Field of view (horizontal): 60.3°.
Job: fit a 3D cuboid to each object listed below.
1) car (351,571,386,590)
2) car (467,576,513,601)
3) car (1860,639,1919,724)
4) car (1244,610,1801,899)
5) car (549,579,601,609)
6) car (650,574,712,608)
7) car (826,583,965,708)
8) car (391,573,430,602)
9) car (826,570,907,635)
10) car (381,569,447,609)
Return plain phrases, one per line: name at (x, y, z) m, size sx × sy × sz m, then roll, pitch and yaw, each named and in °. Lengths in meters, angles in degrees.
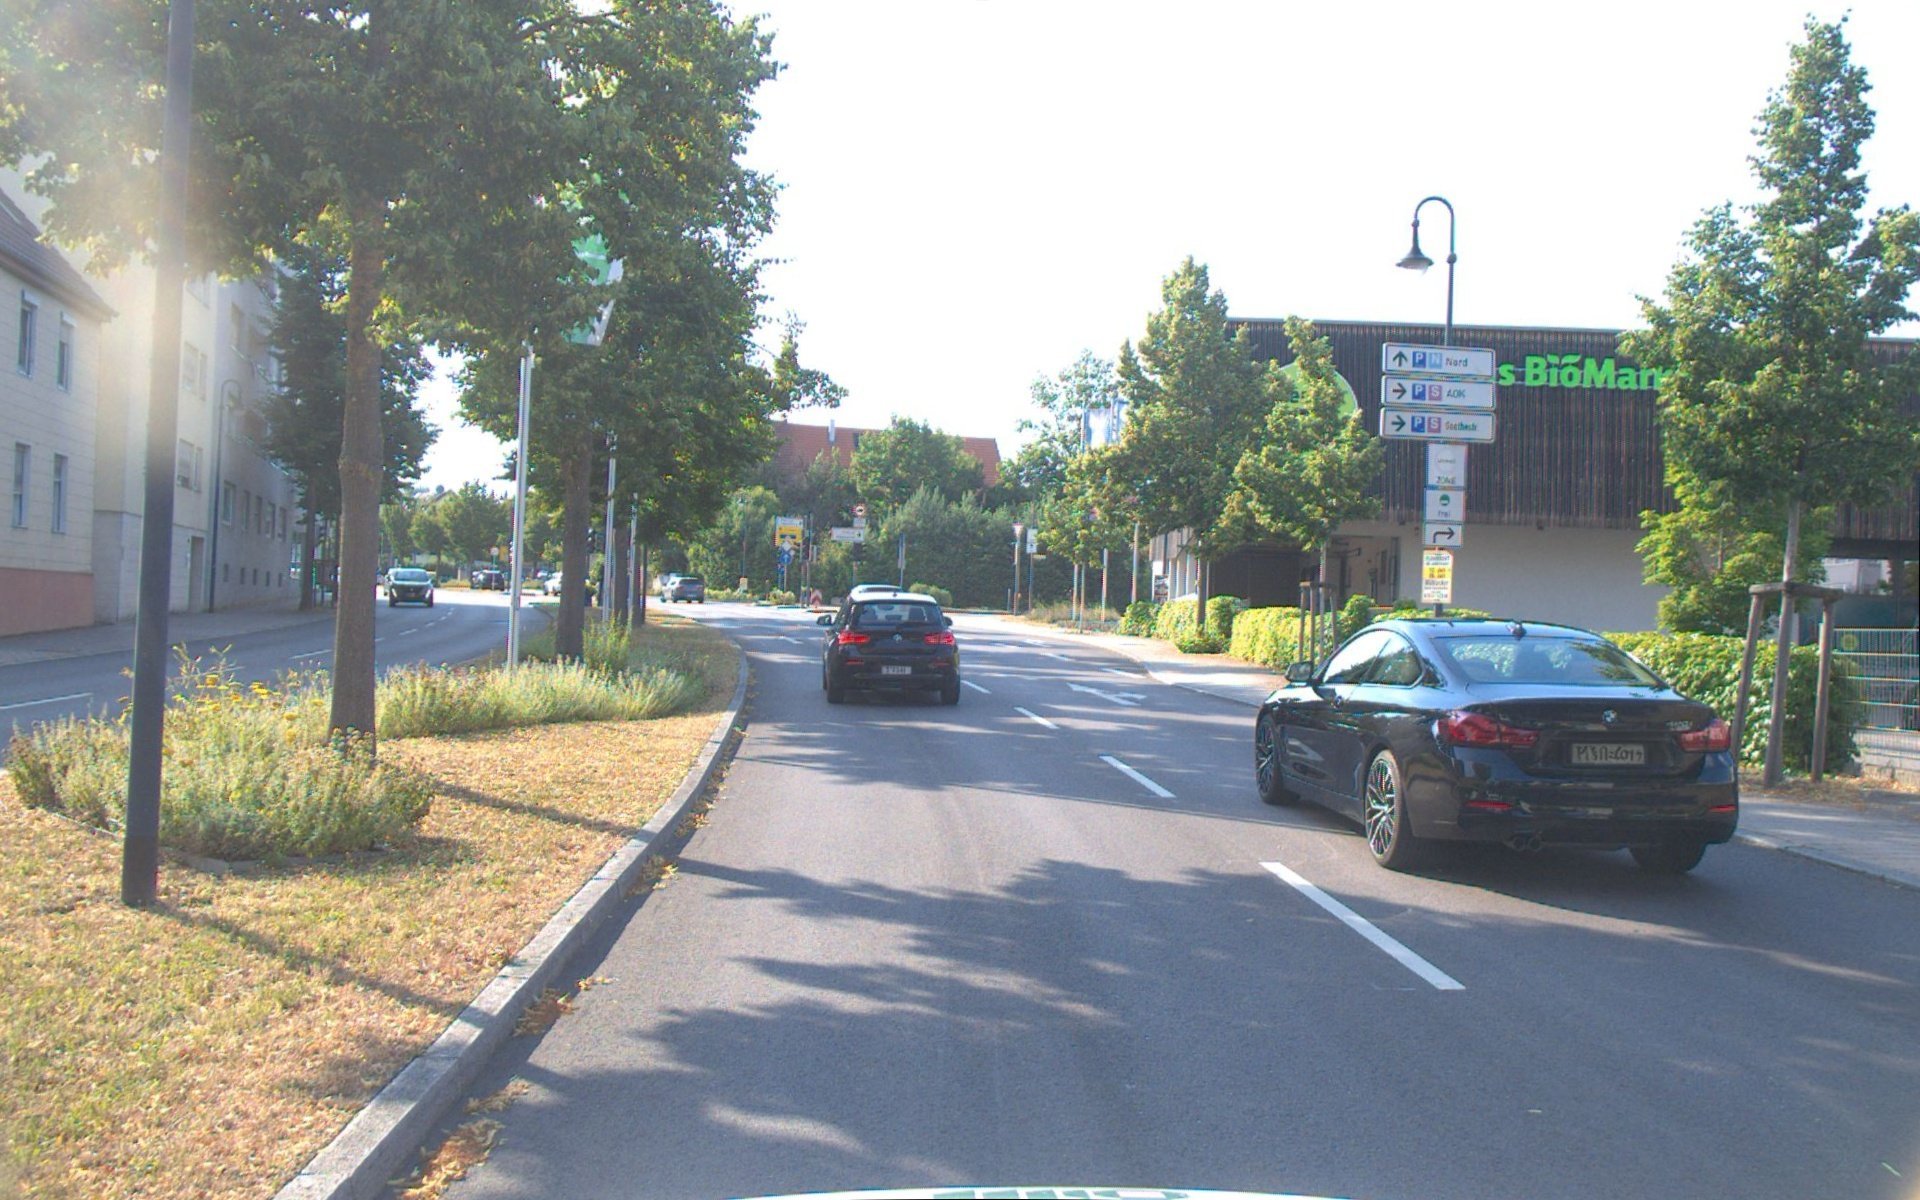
car at (-56.697, -1.862, 158.465) m, size 2.196 × 1.800 × 4.405 m, roll 1°, pitch 0°, yaw -32°
car at (-35.535, -0.870, 125.068) m, size 2.196 × 1.800 × 4.405 m, roll 1°, pitch 0°, yaw -32°
car at (19.258, 1.619, 31.242) m, size 1.953 × 1.566 × 4.547 m, roll 2°, pitch 0°, yaw -1°
car at (3.196, 0.790, 10.453) m, size 1.882 × 1.388 × 4.351 m, roll 1°, pitch 0°, yaw -2°
car at (-25.424, -0.392, 109.116) m, size 2.231 × 1.703 × 4.549 m, roll 4°, pitch 0°, yaw -27°
car at (-16.109, -0.536, 95.201) m, size 2.231 × 1.703 × 4.549 m, roll 4°, pitch 0°, yaw -27°
car at (-0.908, 0.568, 23.025) m, size 1.687 × 1.516 × 4.350 m, roll 2°, pitch 0°, yaw -3°
car at (-29.701, -0.680, 89.525) m, size 1.577 × 1.512 × 3.773 m, roll 1°, pitch 0°, yaw -12°
car at (-2.817, 0.045, 48.930) m, size 1.890 × 1.800 × 4.444 m, roll 1°, pitch 0°, yaw -10°
car at (-23.162, -0.482, 70.277) m, size 1.904 × 1.512 × 4.315 m, roll 4°, pitch 0°, yaw -9°
